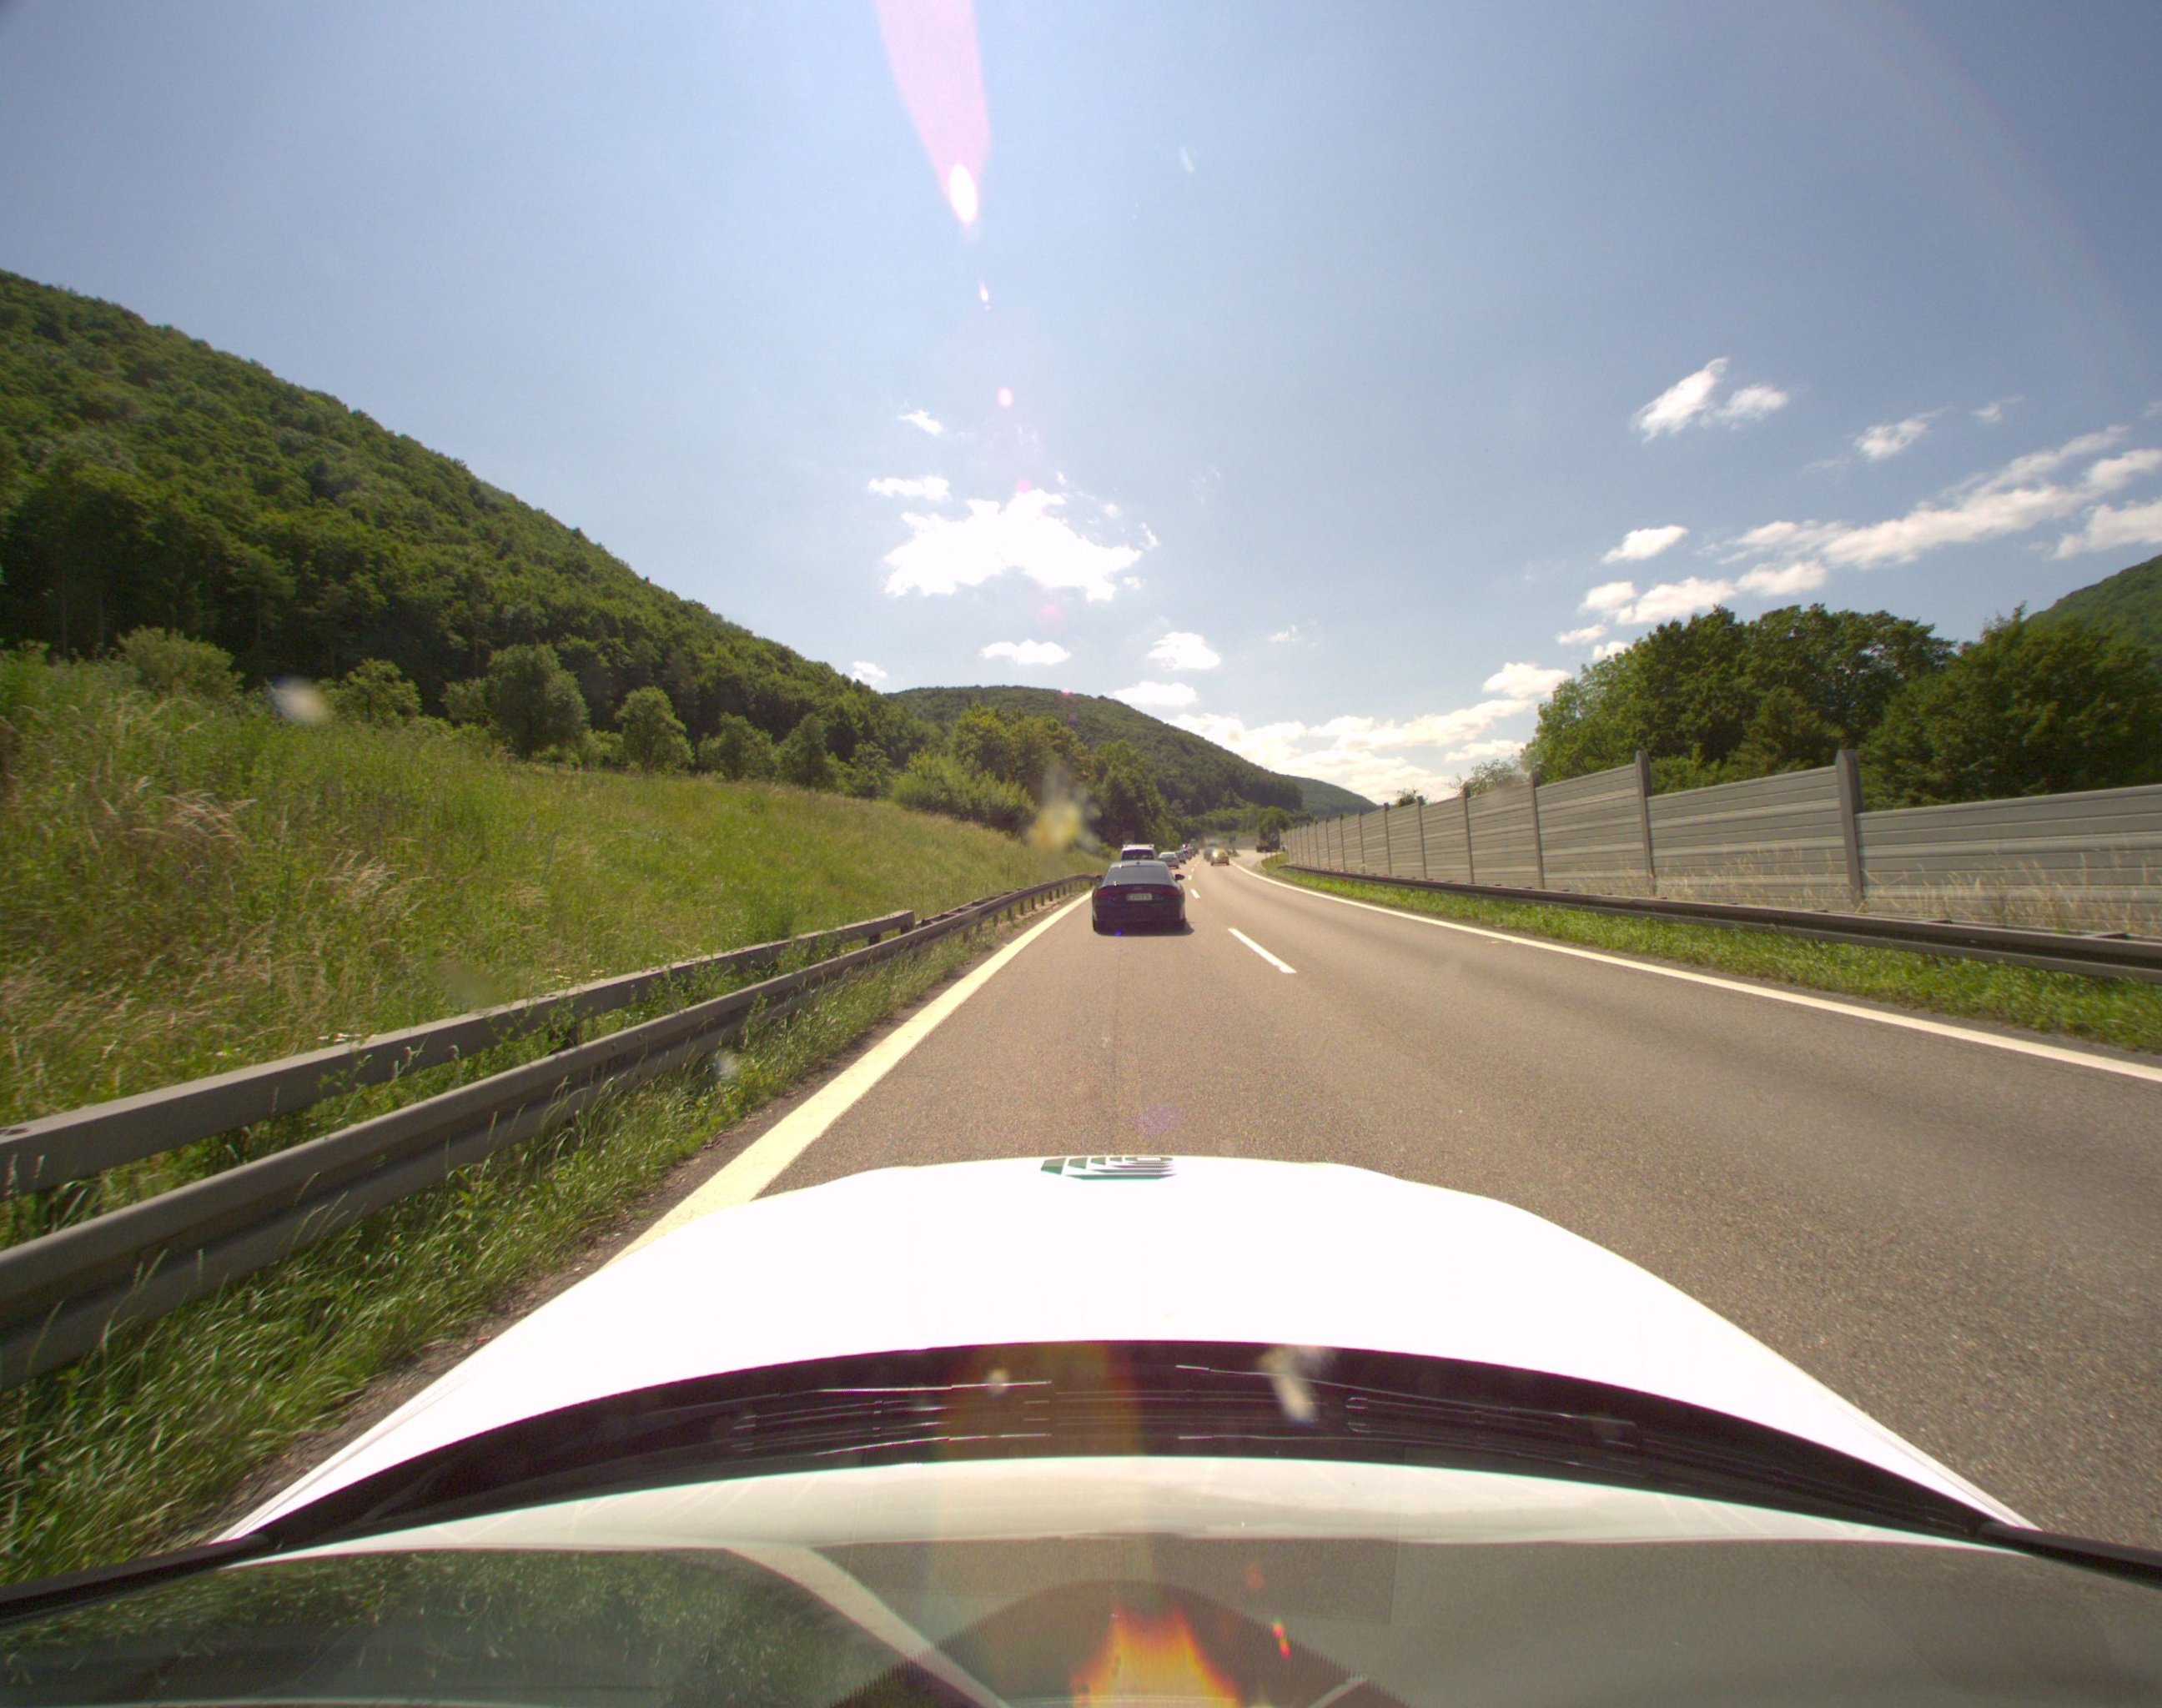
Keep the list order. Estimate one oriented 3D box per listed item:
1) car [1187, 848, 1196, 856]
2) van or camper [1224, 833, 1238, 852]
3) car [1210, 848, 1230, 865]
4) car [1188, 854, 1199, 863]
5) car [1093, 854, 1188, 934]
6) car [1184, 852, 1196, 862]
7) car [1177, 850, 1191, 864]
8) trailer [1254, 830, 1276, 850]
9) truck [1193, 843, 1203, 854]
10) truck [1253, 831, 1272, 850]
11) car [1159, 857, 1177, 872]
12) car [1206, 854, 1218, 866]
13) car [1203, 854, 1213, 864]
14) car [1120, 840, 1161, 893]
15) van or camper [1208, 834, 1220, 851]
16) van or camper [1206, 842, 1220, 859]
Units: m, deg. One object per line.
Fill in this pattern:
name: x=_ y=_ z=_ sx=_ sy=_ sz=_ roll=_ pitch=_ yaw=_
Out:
car: x=21.927 y=-0.409 z=161.193 sx=1.511 sy=1.553 sz=3.524 roll=0 pitch=0 yaw=10
van or camper: x=32.130 y=-2.427 z=174.584 sx=2.780 sy=3.841 sz=6.179 roll=-1 pitch=-1 yaw=7
car: x=13.805 y=0.237 z=81.129 sx=1.868 sy=1.499 sz=4.010 roll=-2 pitch=0 yaw=9
car: x=19.567 y=0.723 z=141.538 sx=1.511 sy=1.553 sz=3.525 roll=0 pitch=0 yaw=11
car: x=1.188 y=0.766 z=17.351 sx=1.805 sy=1.514 sz=3.515 roll=-1 pitch=0 yaw=1
car: x=16.779 y=0.498 z=125.307 sx=1.511 sy=1.553 sz=3.524 roll=0 pitch=0 yaw=10
car: x=11.982 y=0.356 z=94.765 sx=1.512 sy=1.553 sz=3.523 roll=0 pitch=0 yaw=9
trailer: x=37.181 y=-2.748 z=164.587 sx=3.392 sy=3.900 sz=11.179 roll=-2 pitch=0 yaw=9
truck: x=29.249 y=-1.368 z=203.449 sx=2.051 sy=2.605 sz=5.631 roll=0 pitch=0 yaw=11
truck: x=37.937 y=-2.779 z=169.940 sx=3.392 sy=3.900 sz=5.401 roll=-2 pitch=0 yaw=8
car: x=7.760 y=0.885 z=72.275 sx=1.513 sy=1.294 sz=3.521 roll=-1 pitch=0 yaw=6
car: x=16.834 y=0.760 z=104.559 sx=1.521 sy=1.525 sz=3.606 roll=-1 pitch=-1 yaw=9
car: x=19.615 y=0.828 z=125.485 sx=1.521 sy=1.525 sz=3.606 roll=-1 pitch=-1 yaw=9
car: x=2.323 y=0.451 z=32.054 sx=1.514 sy=1.968 sz=3.518 roll=0 pitch=0 yaw=4
van or camper: x=32.313 y=-2.753 z=198.200 sx=2.780 sy=3.907 sz=6.179 roll=-1 pitch=-1 yaw=7
van or camper: x=24.743 y=-0.682 z=152.819 sx=2.415 sy=3.155 sz=5.216 roll=-1 pitch=-1 yaw=9
